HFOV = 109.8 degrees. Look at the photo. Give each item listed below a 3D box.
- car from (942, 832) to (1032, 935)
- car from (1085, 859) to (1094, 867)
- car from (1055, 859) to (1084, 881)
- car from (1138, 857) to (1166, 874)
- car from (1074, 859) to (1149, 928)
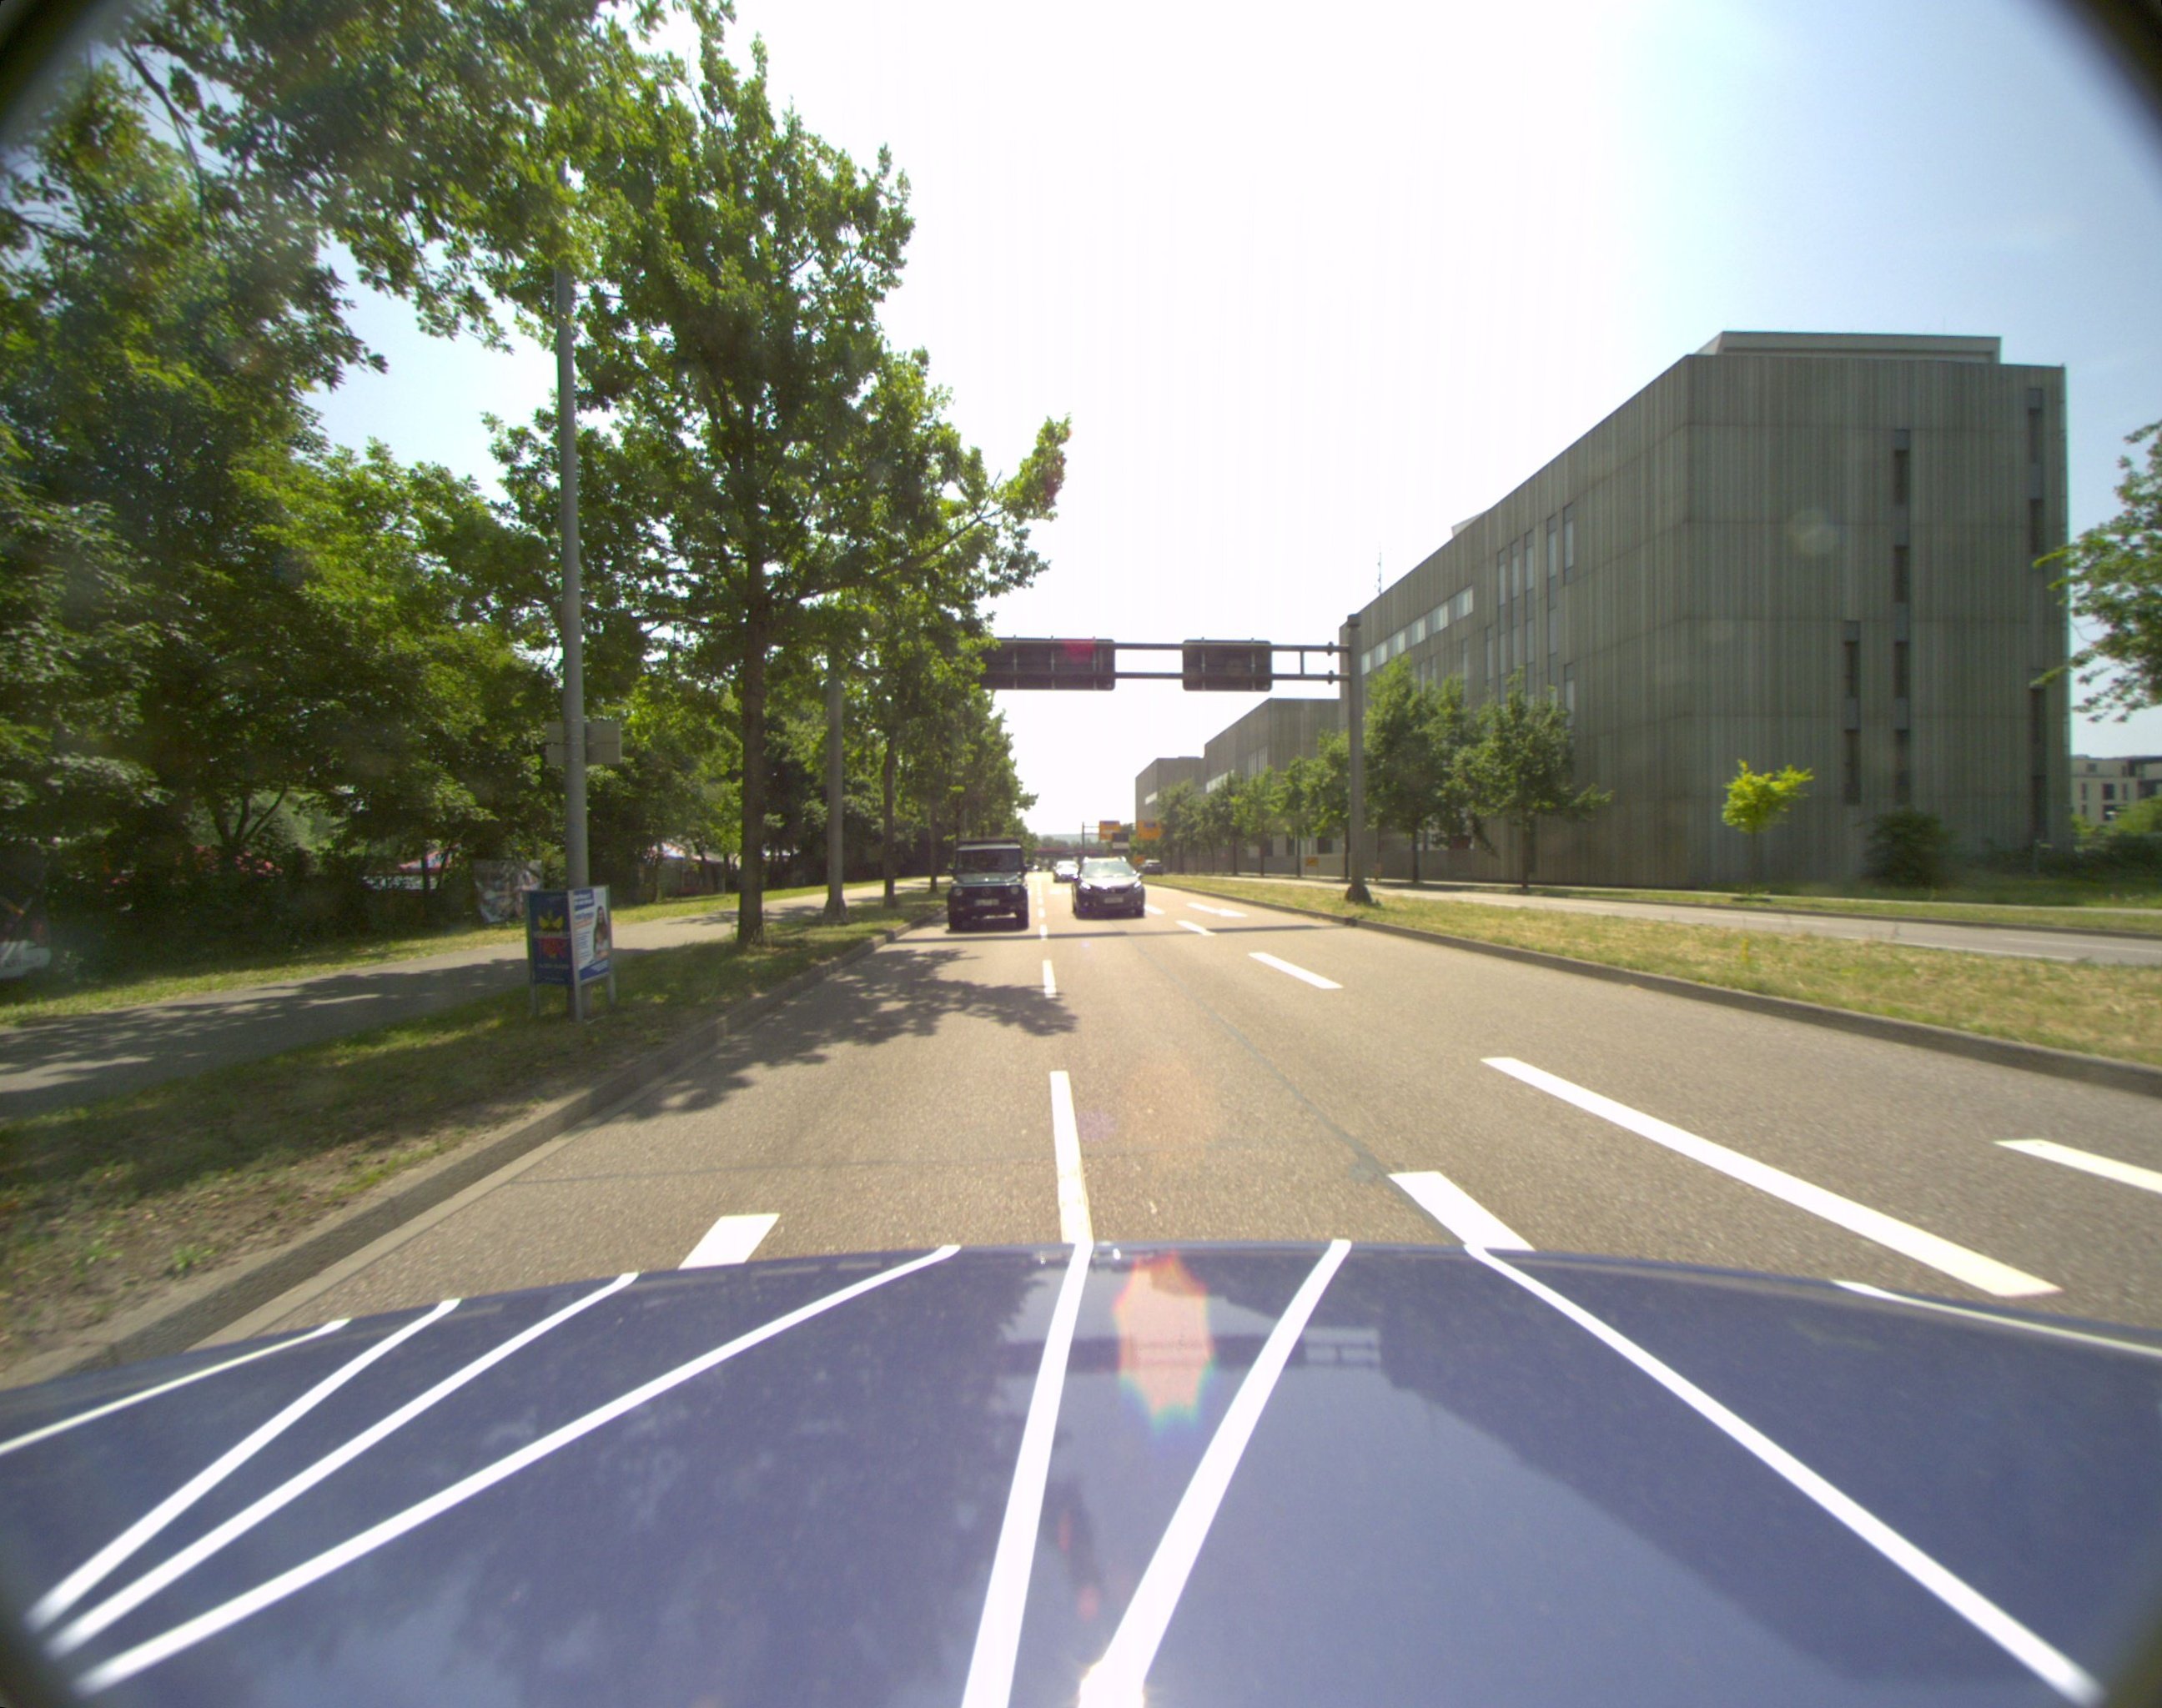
[{"bbox_3d":[-2.134,0.647,18.294,1.842,2.141,4.556,-1,0,-4],"label":"car"},{"bbox_3d":[2.118,2.197,183.231,1.863,1.914,3.999,0,0,-3],"label":"car"},{"bbox_3d":[-0.821,1.101,52.174,1.817,1.455,3.999,-1,-1,-3],"label":"car"},{"bbox_3d":[6.832,1.079,73.078,1.898,1.601,4.532,0,0,-5],"label":"car"},{"bbox_3d":[0.682,0.954,19.609,1.619,1.502,4.458,-3,-1,-1],"label":"car"}]
